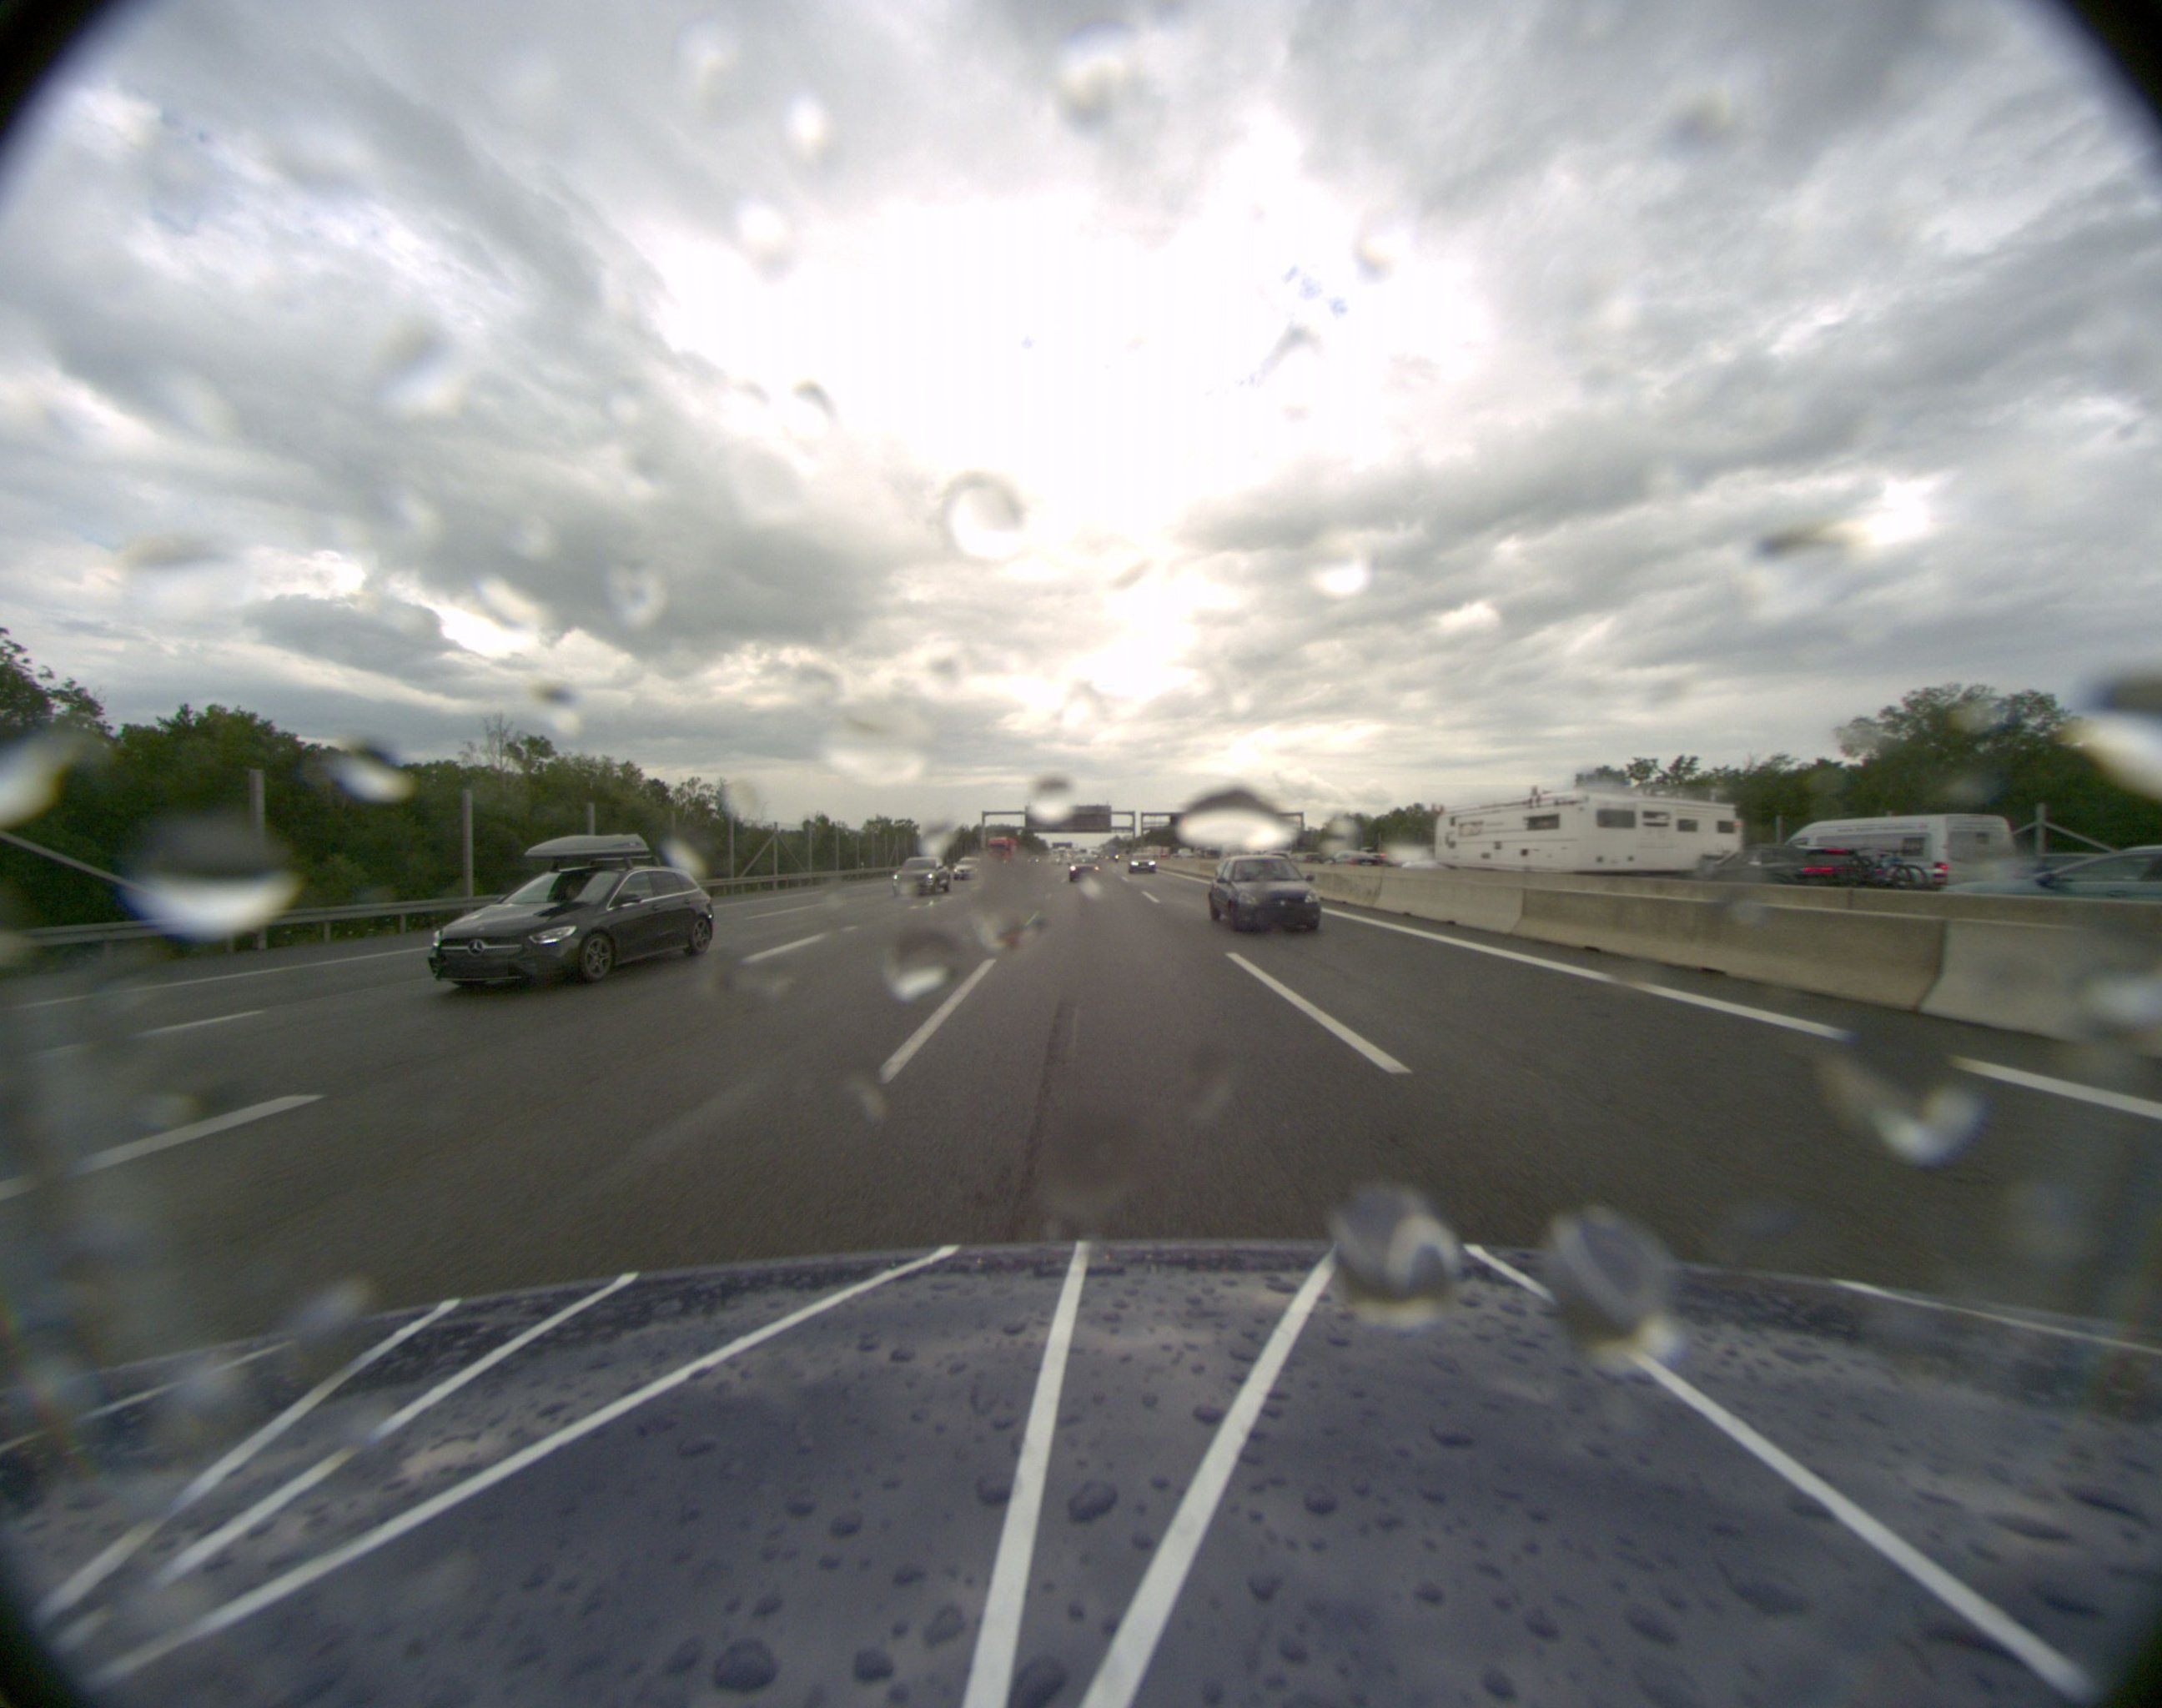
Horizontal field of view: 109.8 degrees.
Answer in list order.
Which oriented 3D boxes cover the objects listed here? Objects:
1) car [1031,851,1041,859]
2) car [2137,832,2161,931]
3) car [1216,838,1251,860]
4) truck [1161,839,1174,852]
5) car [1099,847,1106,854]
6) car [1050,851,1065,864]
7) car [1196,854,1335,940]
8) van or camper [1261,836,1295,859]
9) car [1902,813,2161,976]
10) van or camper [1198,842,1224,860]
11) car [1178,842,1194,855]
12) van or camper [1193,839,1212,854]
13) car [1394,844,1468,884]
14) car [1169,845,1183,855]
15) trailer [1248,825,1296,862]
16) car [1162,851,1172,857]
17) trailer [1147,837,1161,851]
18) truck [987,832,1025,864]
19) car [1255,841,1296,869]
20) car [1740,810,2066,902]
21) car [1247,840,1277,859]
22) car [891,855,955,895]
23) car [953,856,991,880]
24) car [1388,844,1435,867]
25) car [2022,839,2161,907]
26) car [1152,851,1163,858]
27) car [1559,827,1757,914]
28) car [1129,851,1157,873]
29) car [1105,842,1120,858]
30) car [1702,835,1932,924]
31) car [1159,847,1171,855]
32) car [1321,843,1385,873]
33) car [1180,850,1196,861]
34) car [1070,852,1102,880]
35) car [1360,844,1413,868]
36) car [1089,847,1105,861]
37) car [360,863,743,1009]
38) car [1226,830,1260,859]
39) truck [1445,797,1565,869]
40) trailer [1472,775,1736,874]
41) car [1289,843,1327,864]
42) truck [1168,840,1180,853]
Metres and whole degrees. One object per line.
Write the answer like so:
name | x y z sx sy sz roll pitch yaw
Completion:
car | -8.427 0.159 142.476 1.820 1.534 4.357 -1 0 -2
car | 22.141 0.511 12.459 2.121 1.926 5.438 -2 0 1
car | 14.201 -0.427 71.094 2.100 1.957 5.631 -2 0 1
truck | 28.154 -2.782 247.262 2.906 3.817 10.757 -1 0 1
car | 6.089 -1.027 217.347 1.998 1.790 4.898 -2 1 1
car | -3.308 0.494 108.236 1.962 1.831 4.000 -1 0 0
car | 3.546 0.738 15.562 1.781 1.399 5.016 -1 0 2
van or camper | 19.551 -0.659 75.706 2.100 2.173 4.971 -2 0 1
car | 13.802 0.443 9.198 2.121 1.926 5.215 -2 0 1
van or camper | 15.054 -0.359 88.264 1.998 2.002 6.346 -1 1 1
car | 20.288 -1.045 146.774 2.208 2.474 6.065 -1 0 0
van or camper | 23.869 -1.384 149.314 2.590 2.830 6.213 -1 0 -1
car | 18.951 0.516 41.424 1.730 1.957 5.043 -2 0 1
car | 15.491 -0.657 123.740 1.762 1.489 4.393 -2 0 1
trailer | 27.000 -1.401 108.198 3.155 4.828 13.294 -2 0 -1
car | 19.782 -0.029 175.354 1.803 1.349 5.129 -1 0 0
trailer | 23.012 -2.977 239.717 3.195 4.169 11.956 -1 0 0
truck | -10.194 -0.791 104.797 3.160 3.980 15.638 -1 0 1
car | 14.545 0.035 57.072 1.868 1.958 4.805 -1 1 1
car | 22.613 0.040 21.546 2.121 2.137 6.618 -2 0 1
car | 19.315 -0.468 81.275 1.863 1.813 5.664 -2 0 1
car | -6.659 0.847 32.360 1.796 1.553 3.722 -2 0 2
car | -7.317 0.914 51.252 1.898 1.439 4.244 -1 1 0
car | 22.971 0.100 52.985 1.597 1.494 4.000 -1 1 1
car | 25.960 0.424 18.175 1.998 1.521 4.000 -1 1 1
car | 16.454 0.052 163.172 1.707 1.383 4.505 -1 0 -1
car | 14.609 0.374 19.589 1.898 1.942 4.212 -2 0 1
car | 4.502 0.586 55.772 1.751 1.489 4.015 -1 1 1
car | 4.982 -0.588 120.250 1.999 2.354 4.171 -2 0 -1
car | 18.182 0.562 19.082 1.898 1.942 4.000 -2 0 1
car | 16.075 -0.574 144.927 1.763 1.429 4.393 -2 0 0
car | 14.724 0.195 41.442 1.769 1.475 4.972 -1 1 1
car | 14.932 0.162 106.165 1.646 1.484 4.934 -2 0 1
car | 0.333 0.662 42.836 1.668 1.431 4.405 -1 1 2
car | 20.264 0.133 50.551 1.804 1.494 4.351 -1 1 1
car | 2.297 -0.008 109.584 2.134 1.831 4.000 -1 0 0
car | -7.234 0.980 11.307 2.110 1.596 5.065 -1 0 0
car | 19.296 -1.102 90.788 2.504 3.281 7.627 -2 0 1
truck | 22.627 -1.059 41.027 2.735 3.493 6.800 -2 0 1
trailer | 22.582 -1.074 34.527 2.717 3.505 13.610 -2 0 1
car | 18.719 -0.082 62.840 1.868 1.651 4.426 -1 1 1
truck | 27.068 -2.109 220.397 2.470 3.516 7.807 -1 0 0
